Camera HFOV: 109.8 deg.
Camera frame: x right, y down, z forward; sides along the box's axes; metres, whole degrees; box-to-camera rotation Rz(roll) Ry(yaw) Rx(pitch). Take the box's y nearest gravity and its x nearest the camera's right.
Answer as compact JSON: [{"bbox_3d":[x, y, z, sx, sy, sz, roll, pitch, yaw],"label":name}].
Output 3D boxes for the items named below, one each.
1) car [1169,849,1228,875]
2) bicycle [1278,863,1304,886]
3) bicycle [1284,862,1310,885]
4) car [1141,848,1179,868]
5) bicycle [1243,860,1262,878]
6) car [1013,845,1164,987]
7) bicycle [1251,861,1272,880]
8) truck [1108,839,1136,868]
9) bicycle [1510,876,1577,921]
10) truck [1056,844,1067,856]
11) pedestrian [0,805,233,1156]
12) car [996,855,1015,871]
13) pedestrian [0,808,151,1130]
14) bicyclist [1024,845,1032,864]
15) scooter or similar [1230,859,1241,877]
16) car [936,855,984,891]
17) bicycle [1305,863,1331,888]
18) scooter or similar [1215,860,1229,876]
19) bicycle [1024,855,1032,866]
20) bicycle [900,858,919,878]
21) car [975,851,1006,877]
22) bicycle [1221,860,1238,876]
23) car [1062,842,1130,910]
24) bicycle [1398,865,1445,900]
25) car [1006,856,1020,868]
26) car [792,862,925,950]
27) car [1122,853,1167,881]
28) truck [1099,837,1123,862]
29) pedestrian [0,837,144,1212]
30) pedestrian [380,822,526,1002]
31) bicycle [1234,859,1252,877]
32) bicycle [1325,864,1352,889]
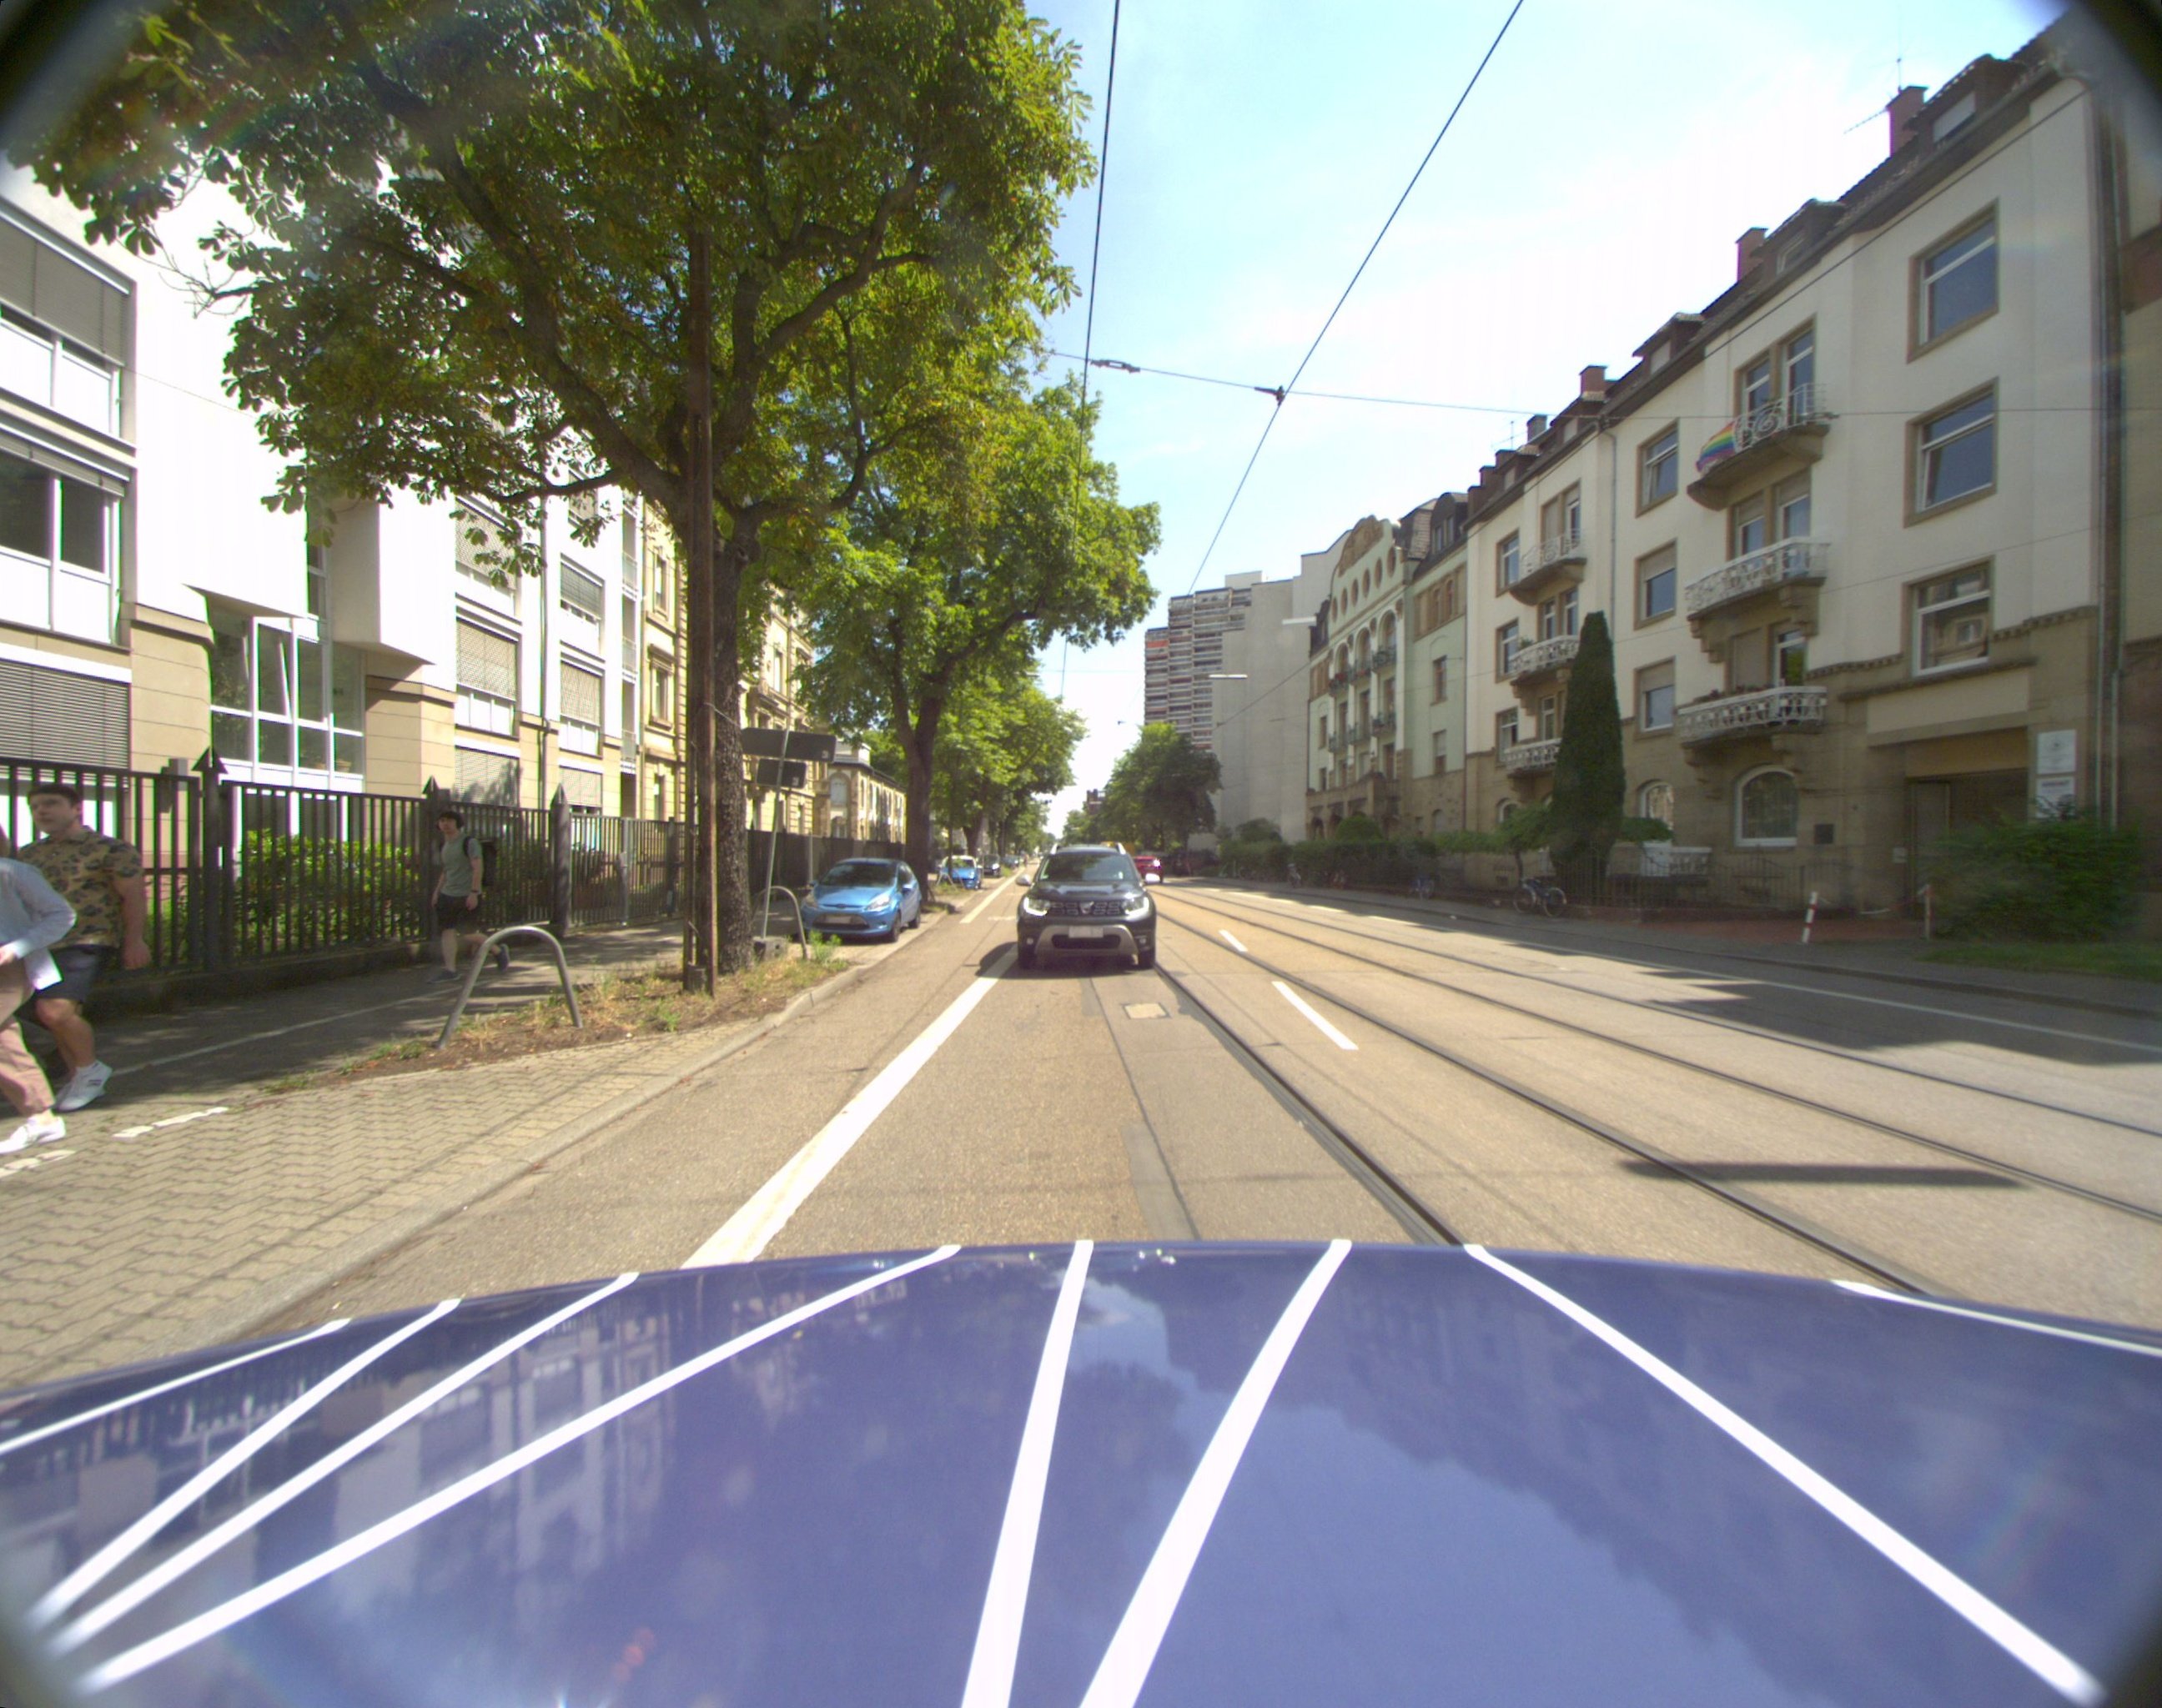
[{"bbox_3d":[9.156,0.586,58.882,4.596,1.914,1.956,0,0,-40],"label":"car"},{"bbox_3d":[9.450,0.922,34.125,0.608,0.993,1.778,1,0,33],"label":"bicycle"},{"bbox_3d":[10.405,0.924,36.657,0.609,1.026,1.771,-3,0,-3],"label":"bicycle"},{"bbox_3d":[8.190,0.451,78.580,4.062,2.030,1.597,0,0,-43],"label":"car"},{"bbox_3d":[9.941,0.860,44.084,0.609,0.983,1.707,-3,0,-3],"label":"bicycle"},{"bbox_3d":[-0.004,0.731,11.131,1.753,1.641,4.296,-1,0,-3],"label":"car"},{"bbox_3d":[9.994,0.894,42.154,0.609,0.970,1.771,-3,0,-3],"label":"bicycle"},{"bbox_3d":[4.239,-0.048,79.323,2.307,2.903,6.514,1,0,-2],"label":"truck"},{"bbox_3d":[11.388,1.075,18.774,0.411,0.955,1.840,-3,1,-3],"label":"bicycle"},{"bbox_3d":[-5.709,-1.193,224.764,2.792,3.598,8.255,1,0,0],"label":"truck"},{"bbox_3d":[-5.651,0.635,4.275,0.706,1.766,0.947,1,1,-3],"label":"pedestrian"},{"bbox_3d":[-7.355,0.884,74.128,1.626,1.395,3.822,3,0,-3],"label":"car"},{"bbox_3d":[-6.283,0.623,4.277,0.790,1.751,1.052,1,1,-2],"label":"pedestrian"},{"bbox_3d":[-5.760,0.029,82.753,0.773,2.002,0.807,1,1,-4],"label":"bicyclist"},{"bbox_3d":[9.698,0.865,47.627,0.407,1.113,1.290,0,0,-1],"label":"scooter or similar"},{"bbox_3d":[-5.185,0.780,32.900,1.696,1.444,3.472,1,0,-4],"label":"car"},{"bbox_3d":[10.402,0.924,33.361,0.465,0.993,1.707,-3,0,-3],"label":"bicycle"},{"bbox_3d":[9.488,0.933,51.110,0.407,1.014,1.222,0,0,-19],"label":"scooter or similar"},{"bbox_3d":[-5.771,0.697,82.831,0.812,1.089,2.173,0,0,-5],"label":"bicycle"},{"bbox_3d":[-9.450,0.755,41.879,0.609,1.065,1.980,1,0,-1],"label":"bicycle"},{"bbox_3d":[-6.103,0.672,51.710,1.734,1.606,4.083,3,0,-3],"label":"car"},{"bbox_3d":[9.664,0.928,49.469,0.609,0.983,1.707,-3,0,-3],"label":"bicycle"},{"bbox_3d":[0.358,0.595,23.032,1.753,1.806,4.307,-2,0,-2],"label":"car"},{"bbox_3d":[11.059,0.906,24.762,0.609,1.058,1.771,-3,0,-3],"label":"bicycle"},{"bbox_3d":[-8.342,0.992,93.414,1.626,1.395,3.999,3,0,-3],"label":"car"},{"bbox_3d":[-4.116,0.893,14.629,1.682,1.435,3.719,1,0,-4],"label":"car"},{"bbox_3d":[3.498,0.708,42.754,1.828,1.405,4.427,2,0,-4],"label":"car"},{"bbox_3d":[5.299,-0.757,133.736,2.673,4.155,10.481,1,0,10],"label":"truck"},{"bbox_3d":[-5.104,0.741,3.336,0.768,1.641,0.974,1,1,-2],"label":"pedestrian"},{"bbox_3d":[-6.642,0.578,8.098,0.686,1.787,1.083,0,1,-3],"label":"pedestrian"},{"bbox_3d":[9.783,0.846,45.989,0.609,0.983,1.707,-3,0,-3],"label":"bicycle"},{"bbox_3d":[10.672,0.925,31.531,0.414,0.960,1.725,-3,0,-3],"label":"bicycle"}]
